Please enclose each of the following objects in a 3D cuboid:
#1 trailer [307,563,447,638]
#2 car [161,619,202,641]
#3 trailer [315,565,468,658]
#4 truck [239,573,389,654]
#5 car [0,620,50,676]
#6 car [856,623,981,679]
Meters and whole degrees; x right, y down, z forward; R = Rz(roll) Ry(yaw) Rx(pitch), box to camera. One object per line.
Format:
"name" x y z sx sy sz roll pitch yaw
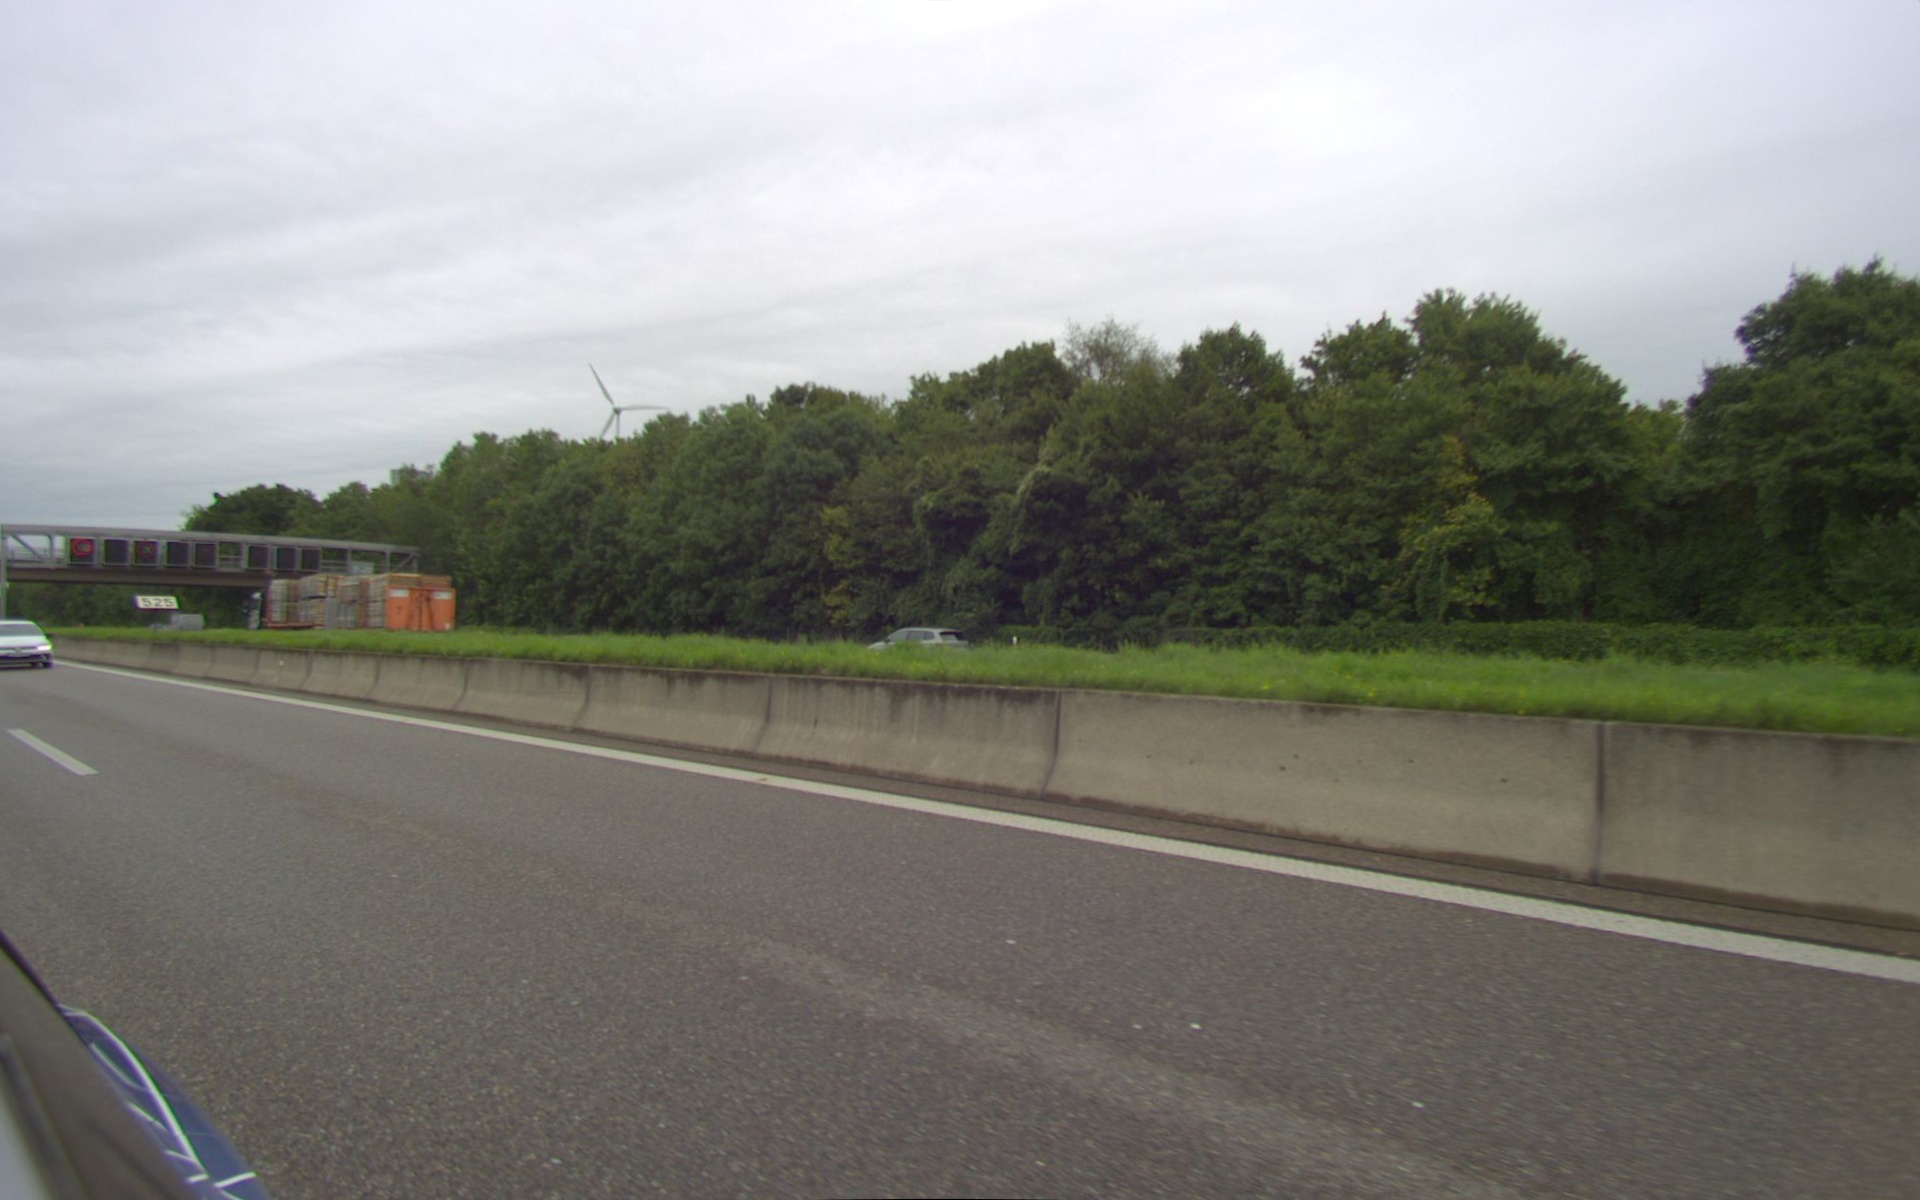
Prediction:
"trailer" -30.669 0.057 52.883 11.865 3.567 2.658 -1 0 42
"car" -78.720 3.001 102.323 6.064 2.100 2.173 -1 0 42
"trailer" -23.524 0.471 41.678 8.316 3.485 2.901 -1 0 41
"truck" -30.939 0.635 48.156 11.178 3.492 2.921 -1 0 41
"car" -29.594 1.457 31.206 4.661 1.630 1.735 -1 -2 41
"car" -1.526 1.751 35.953 4.304 1.802 1.972 -1 0 43
